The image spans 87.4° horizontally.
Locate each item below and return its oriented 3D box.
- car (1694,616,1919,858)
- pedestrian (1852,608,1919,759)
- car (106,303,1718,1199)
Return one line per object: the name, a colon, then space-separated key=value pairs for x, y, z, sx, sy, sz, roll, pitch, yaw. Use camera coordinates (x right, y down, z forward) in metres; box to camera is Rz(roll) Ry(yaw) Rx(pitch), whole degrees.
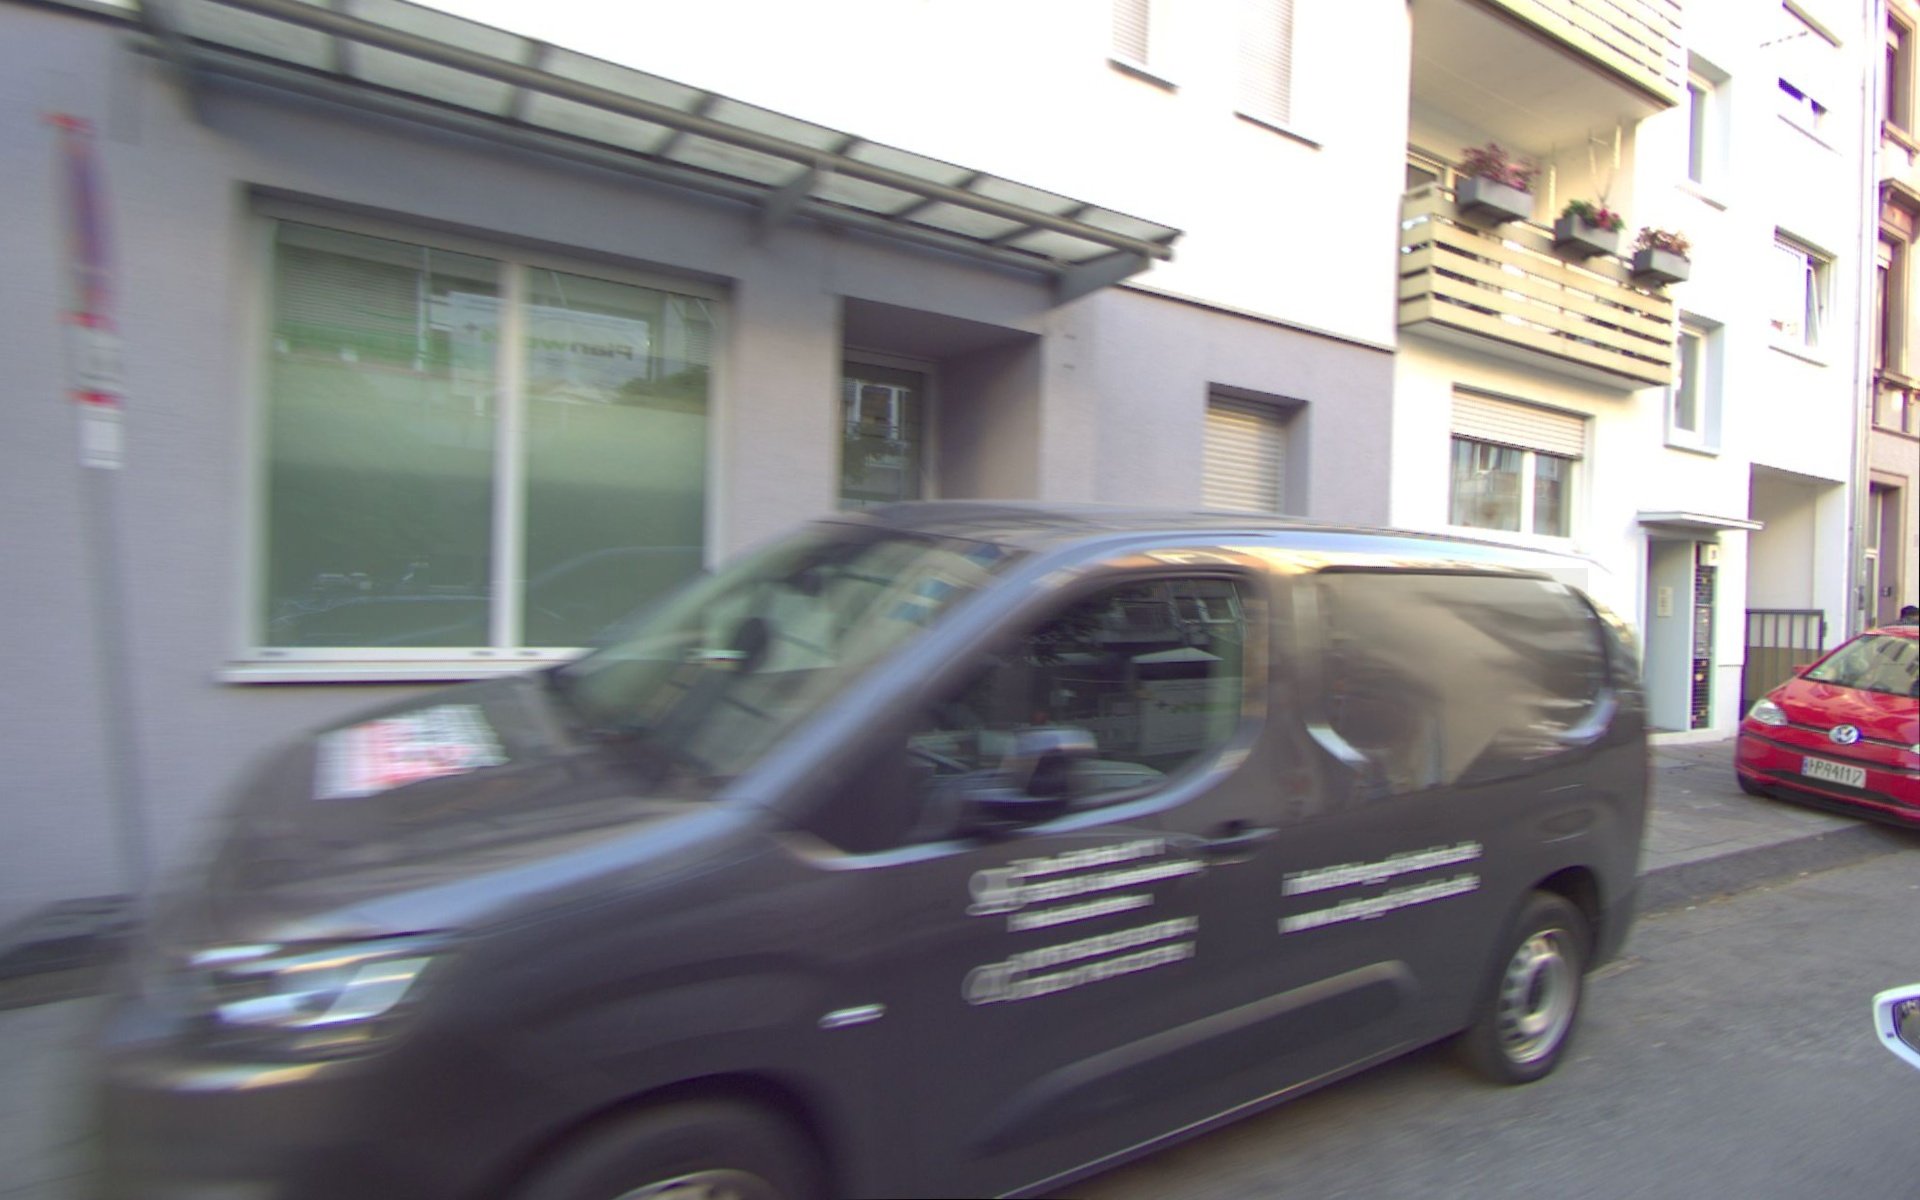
car: x=7.974 y=1.013 z=8.152 sx=3.558 sy=1.506 sz=1.663 roll=2 pitch=5 yaw=-26
pedestrian: x=10.713 y=0.940 z=11.506 sx=0.658 sy=1.660 sz=0.492 roll=2 pitch=2 yaw=-31
car: x=0.325 y=0.604 z=3.332 sx=4.534 sy=1.883 sz=1.982 roll=2 pitch=1 yaw=-32
